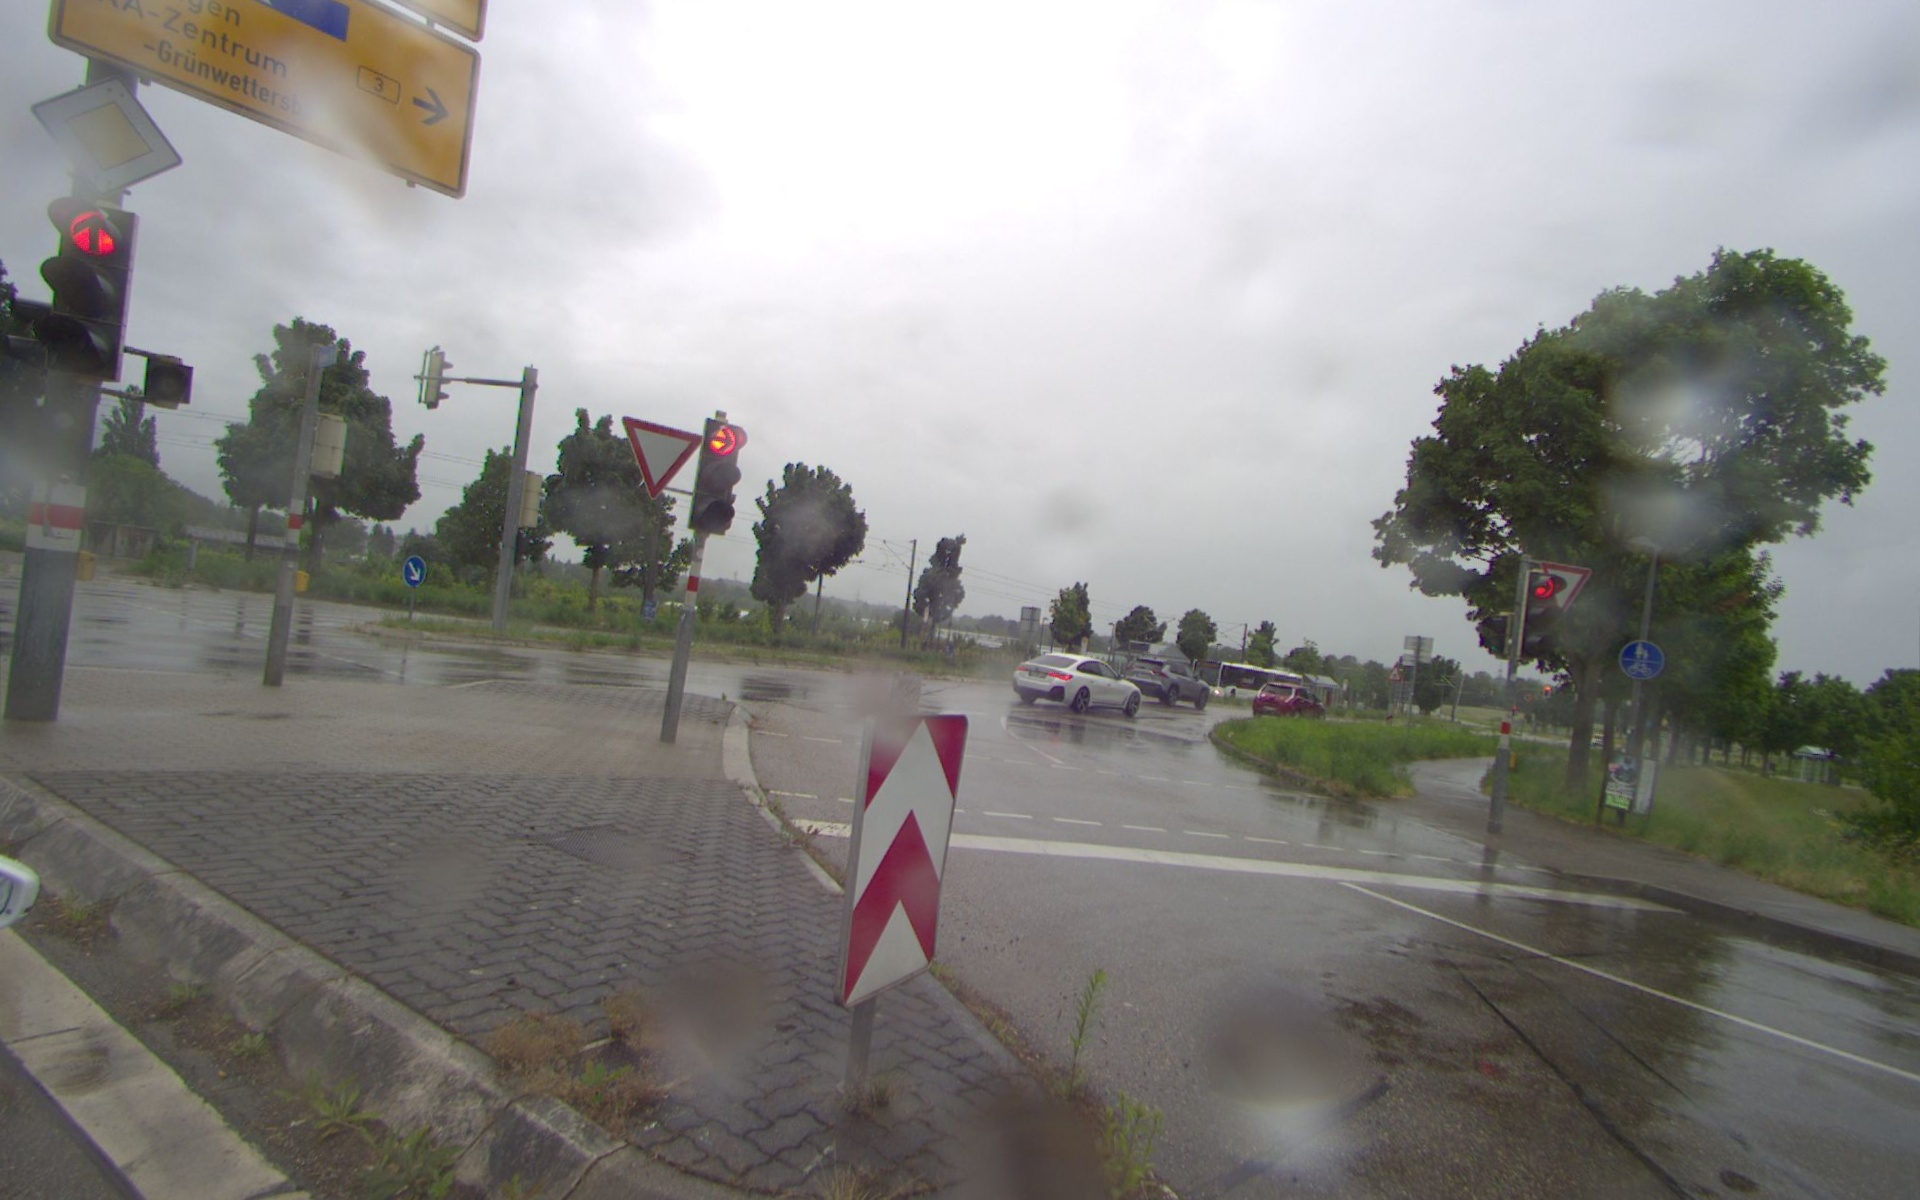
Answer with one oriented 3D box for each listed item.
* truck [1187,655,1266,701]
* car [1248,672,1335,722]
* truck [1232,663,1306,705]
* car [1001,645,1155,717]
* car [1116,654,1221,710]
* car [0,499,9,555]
[{"bbox_3d":[21.457,6.287,80.607,2.617,2.864,8.820,7,-2,39],"label":"truck"},{"bbox_3d":[13.326,3.917,40.288,1.707,1.598,4.374,7,-2,40],"label":"car"},{"bbox_3d":[27.043,7.364,87.681,2.617,2.804,9.323,7,-2,39],"label":"truck"},{"bbox_3d":[3.333,2.267,27.581,1.773,1.572,4.881,7,-1,38],"label":"car"},{"bbox_3d":[8.029,3.162,38.374,1.885,1.597,4.527,7,-3,40],"label":"car"},{"bbox_3d":[-29.165,-2.341,27.373,4.285,1.572,1.816,8,-1,-18],"label":"car"}]
